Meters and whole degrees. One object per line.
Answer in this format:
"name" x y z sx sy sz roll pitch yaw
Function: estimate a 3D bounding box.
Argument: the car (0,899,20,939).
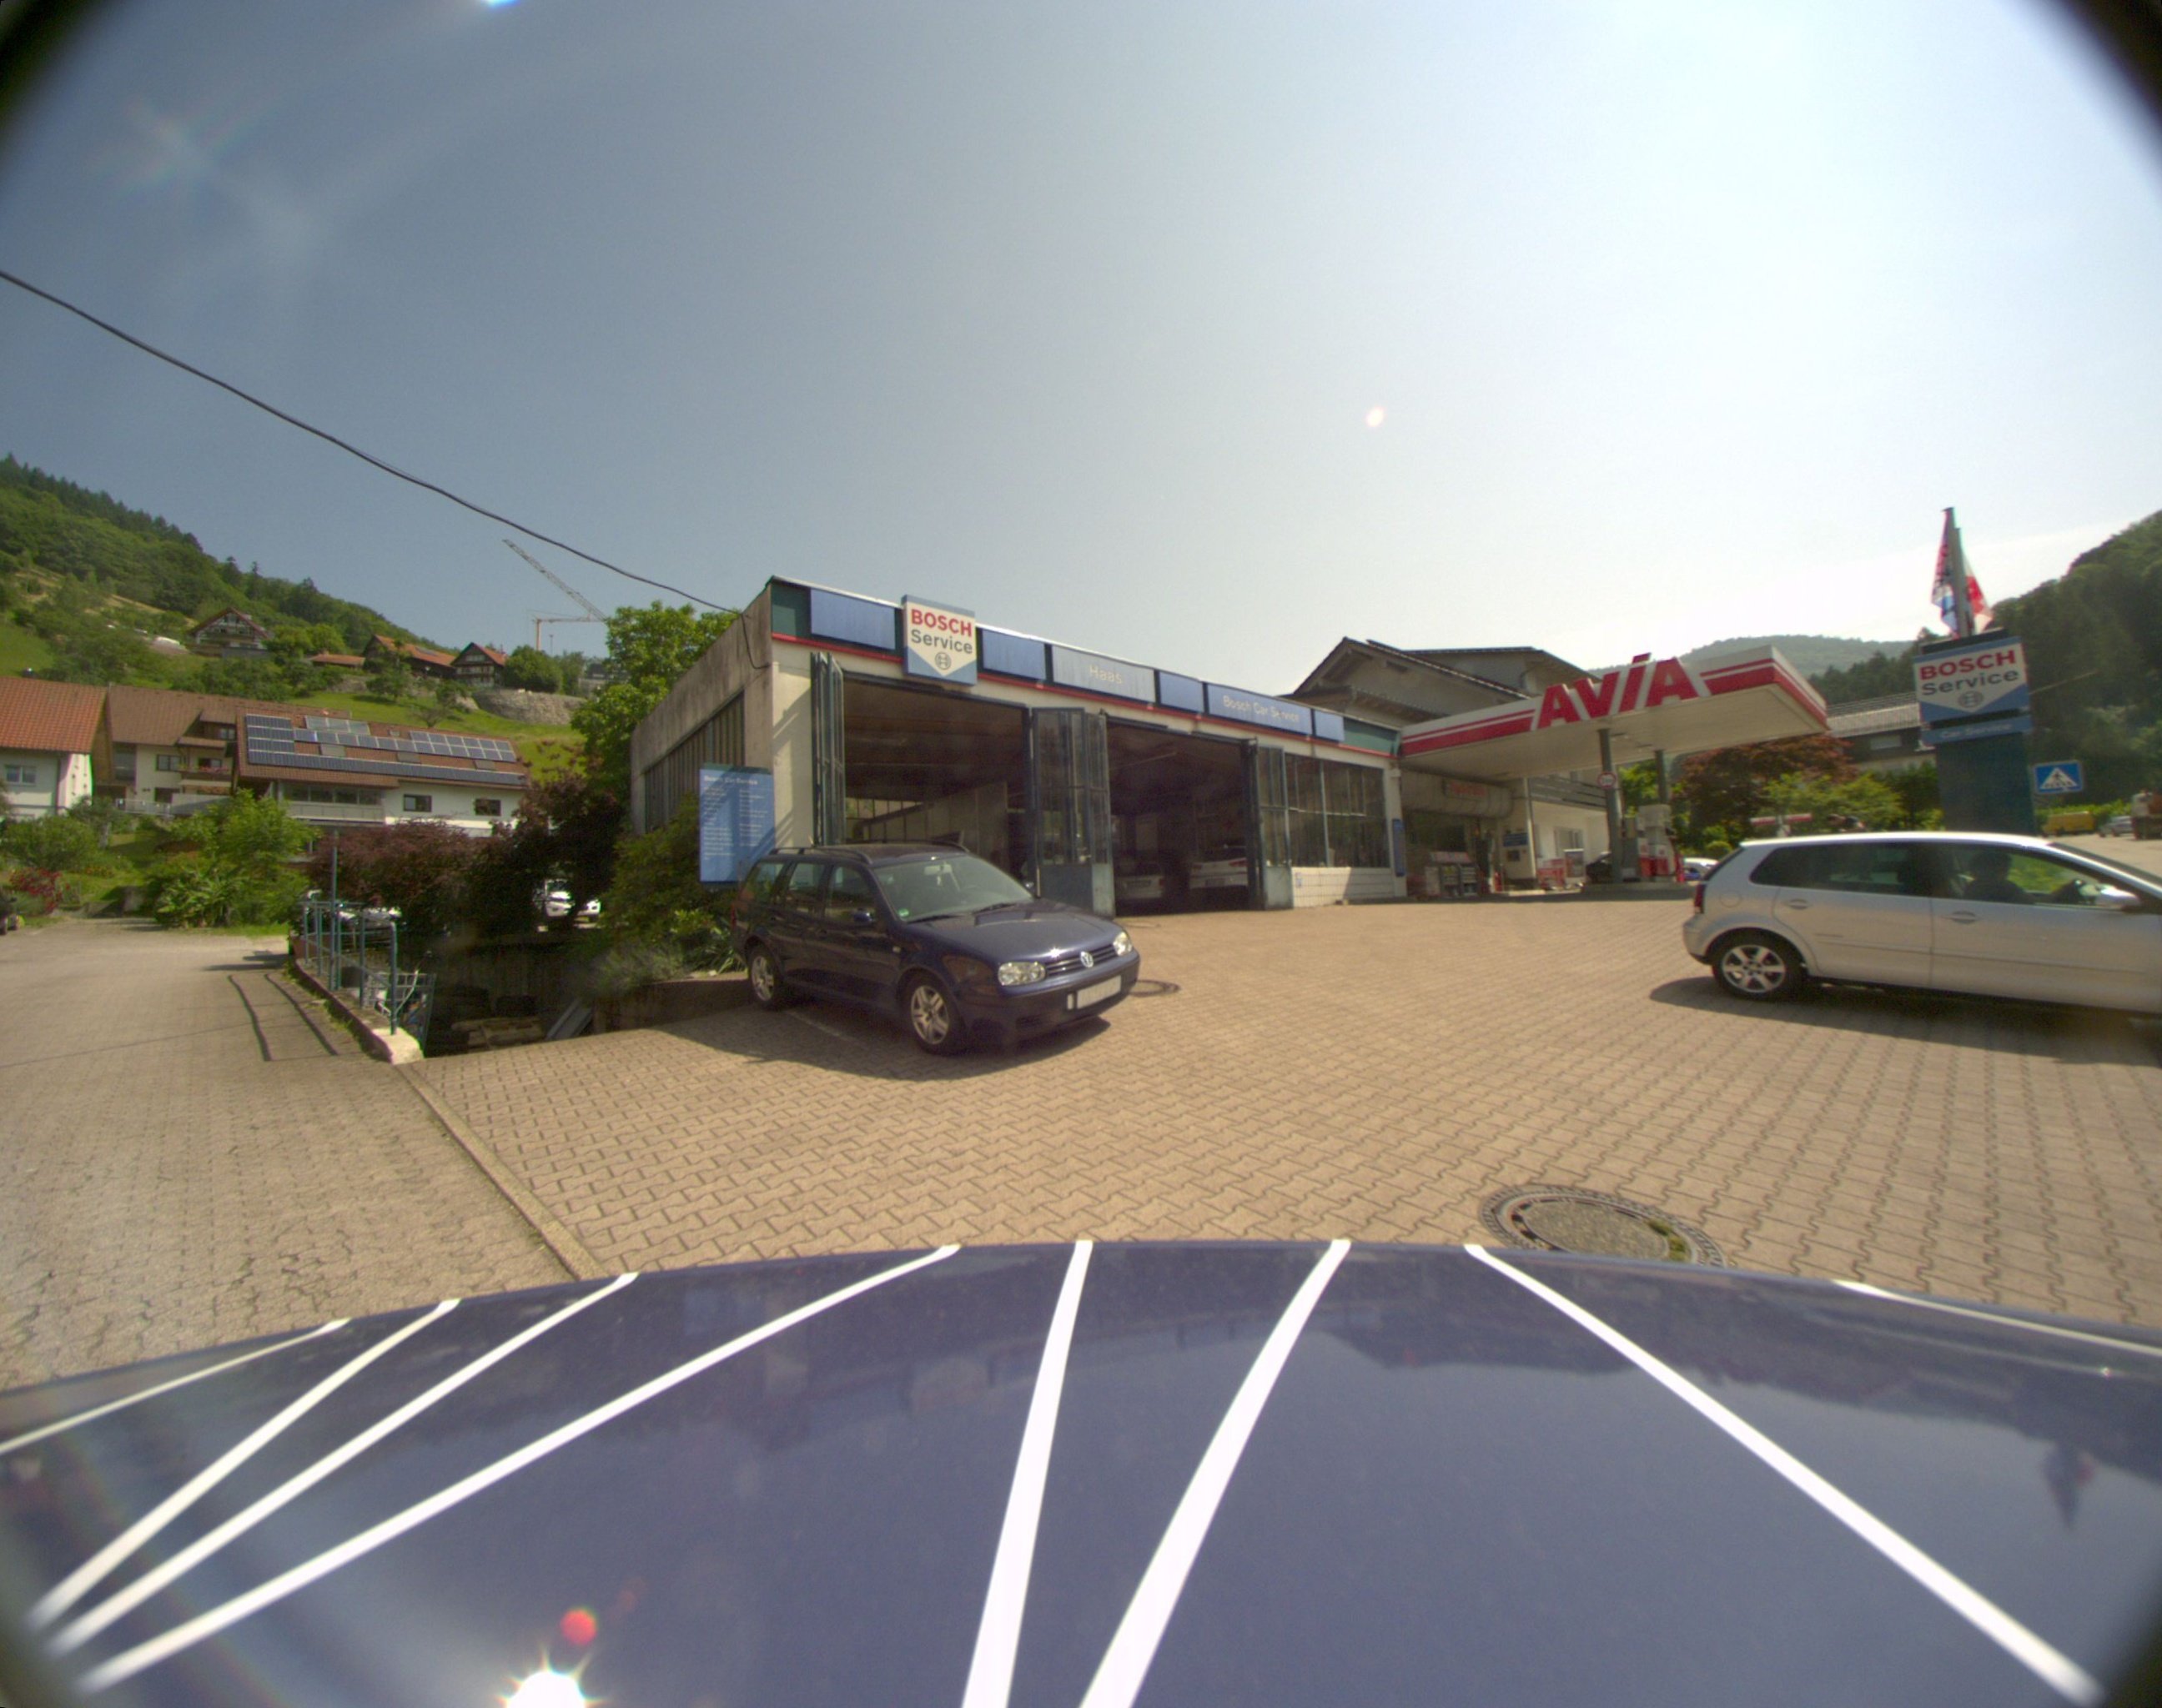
"car" -32.877 1.938 22.707 2.856 1.057 1.115 0 -2 40

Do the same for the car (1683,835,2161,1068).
"car" 7.243 0.620 5.892 1.598 1.474 3.747 -3 2 -37

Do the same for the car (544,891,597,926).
"car" -21.090 2.202 31.336 1.471 1.251 3.379 0 -1 -40

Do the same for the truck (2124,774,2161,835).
"truck" 66.819 -3.106 46.725 7.787 3.560 2.646 -3 -1 -39

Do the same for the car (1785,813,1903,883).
"car" 19.086 -0.186 18.963 3.918 1.568 1.693 -3 1 -39

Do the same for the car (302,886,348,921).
"car" -33.768 2.166 33.920 3.205 1.362 1.347 -2 1 45

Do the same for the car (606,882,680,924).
"car" -18.824 2.045 32.607 3.900 1.546 1.683 -2 1 44

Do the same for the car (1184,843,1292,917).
"car" 4.218 0.614 19.950 1.602 1.678 3.937 -2 1 30

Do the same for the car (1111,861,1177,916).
"car" 1.860 1.021 21.654 1.546 1.397 3.483 -3 -4 9

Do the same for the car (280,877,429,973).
"car" -15.668 1.374 16.293 4.864 1.635 2.004 -2 1 43

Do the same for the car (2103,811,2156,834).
"car" 75.278 -2.269 54.595 3.605 1.565 1.784 -3 1 -44

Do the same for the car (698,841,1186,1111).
"car" -1.438 0.752 6.583 4.319 1.536 1.803 -1 2 42
